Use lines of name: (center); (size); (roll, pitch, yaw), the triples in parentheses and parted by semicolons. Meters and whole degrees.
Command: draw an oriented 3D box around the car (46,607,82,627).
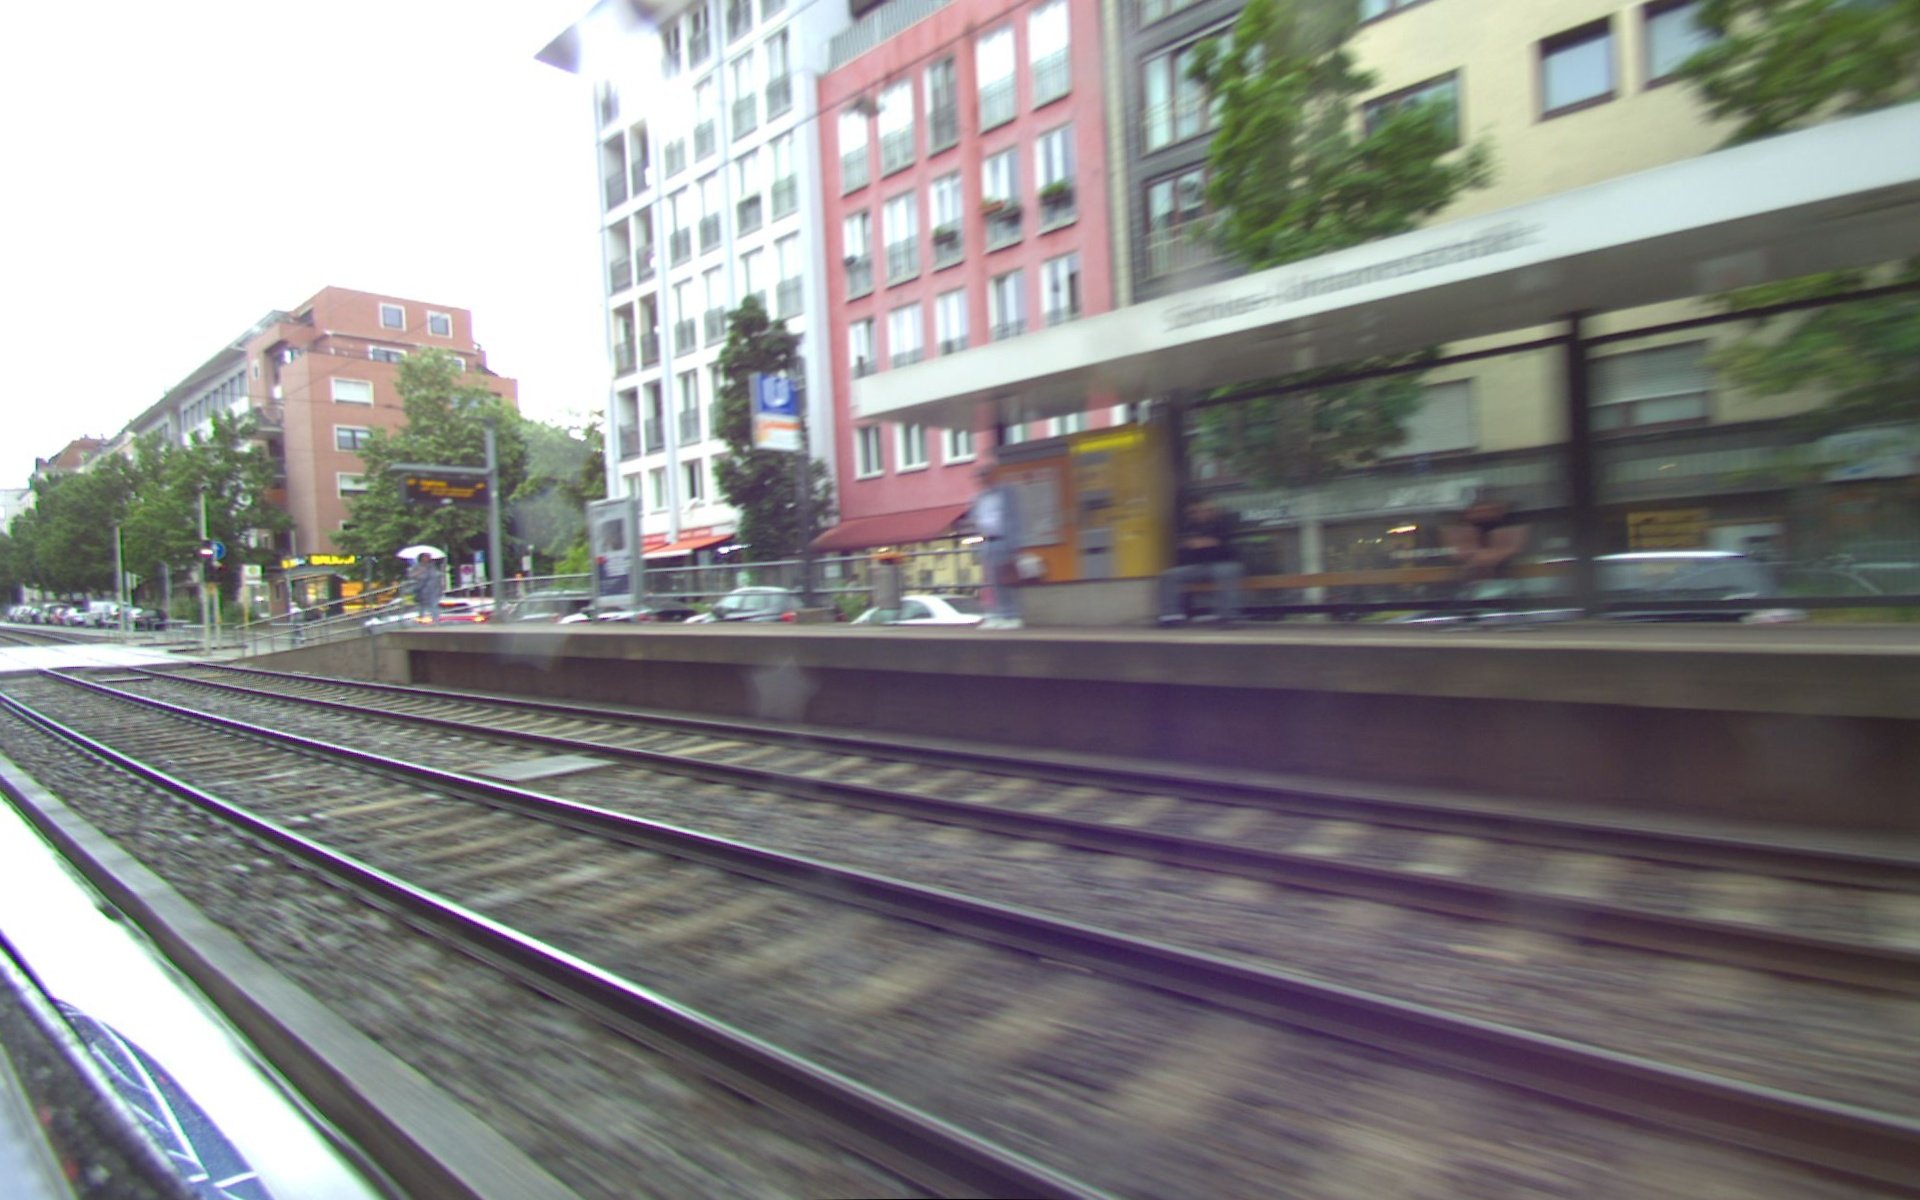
car: (-73.887, 1.416, 83.442); (3.801, 1.550, 1.622); (0, 1, 40)

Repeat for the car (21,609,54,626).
car: (-82.551, 1.541, 90.550); (4.726, 1.451, 1.622); (0, 1, 40)

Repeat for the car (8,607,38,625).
car: (-86.812, 1.432, 93.758); (4.021, 1.549, 1.621); (0, 1, 42)

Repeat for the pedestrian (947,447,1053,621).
pedestrian: (0.417, -0.656, 10.557); (0.849, 1.724, 0.649); (-1, 0, 39)

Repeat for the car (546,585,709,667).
car: (-8.391, 0.619, 25.403); (4.376, 1.872, 1.785); (-1, 1, 39)

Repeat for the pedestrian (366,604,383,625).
pedestrian: (-33.448, 0.819, 57.808); (0.668, 1.186, 0.609); (-2, 1, -43)

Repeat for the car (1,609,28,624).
car: (-95.530, 1.669, 102.254); (4.457, 1.385, 1.695); (0, 1, 43)

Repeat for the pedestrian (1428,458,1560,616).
pedestrian: (4.192, -0.461, 7.933); (0.847, 1.132, 0.886); (-1, 0, 31)

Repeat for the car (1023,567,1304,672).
car: (3.094, 0.280, 15.796); (3.974, 1.447, 1.657); (-1, 1, 38)

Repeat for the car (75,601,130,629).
car: (-61.080, 1.052, 72.045); (5.250, 1.858, 1.889); (0, 1, 38)

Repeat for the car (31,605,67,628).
car: (-78.273, 1.404, 86.926); (4.429, 1.830, 1.657); (0, 1, 40)

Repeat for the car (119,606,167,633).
car: (-51.705, 1.200, 64.026); (4.370, 1.636, 1.621); (0, 1, 42)

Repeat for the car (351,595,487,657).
car: (-15.384, 0.703, 28.651); (5.019, 1.590, 1.788); (-1, 1, 42)

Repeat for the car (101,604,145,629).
car: (-56.190, 1.074, 67.938); (4.370, 1.548, 1.621); (0, 1, 42)

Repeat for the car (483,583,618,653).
car: (-11.853, 0.507, 29.181); (4.316, 1.872, 1.690); (-1, 1, 39)

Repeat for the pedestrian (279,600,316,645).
pedestrian: (-26.206, 0.892, 40.038); (0.983, 1.709, 0.813); (-1, 2, 33)

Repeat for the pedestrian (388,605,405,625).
pedestrian: (-32.954, 0.876, 59.194); (0.601, 1.186, 0.676); (-1, 0, 9)

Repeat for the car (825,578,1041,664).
car: (-0.565, 0.363, 18.979); (3.974, 1.447, 1.553); (-1, 1, 38)

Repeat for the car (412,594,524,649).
car: (-15.983, 0.690, 32.791); (4.552, 1.624, 1.707); (-2, 0, 43)

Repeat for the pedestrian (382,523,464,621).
pedestrian: (-11.511, -0.586, 21.684); (1.383, 2.029, 1.104); (0, 1, 41)

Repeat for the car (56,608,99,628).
car: (-67.939, 1.381, 77.878); (4.525, 1.473, 1.675); (0, 1, 39)

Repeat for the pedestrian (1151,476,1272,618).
pedestrian: (2.386, -0.477, 9.593); (0.883, 1.258, 0.686); (-1, 1, 39)

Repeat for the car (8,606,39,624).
car: (-91.049, 1.450, 98.362); (4.335, 1.596, 1.641); (0, 1, 40)

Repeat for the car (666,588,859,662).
car: (-4.424, 0.527, 22.370); (4.314, 1.447, 1.823); (-1, 1, 38)

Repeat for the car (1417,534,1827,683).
car: (7.454, 0.090, 11.644); (3.731, 1.447, 1.553); (-1, 1, 38)
